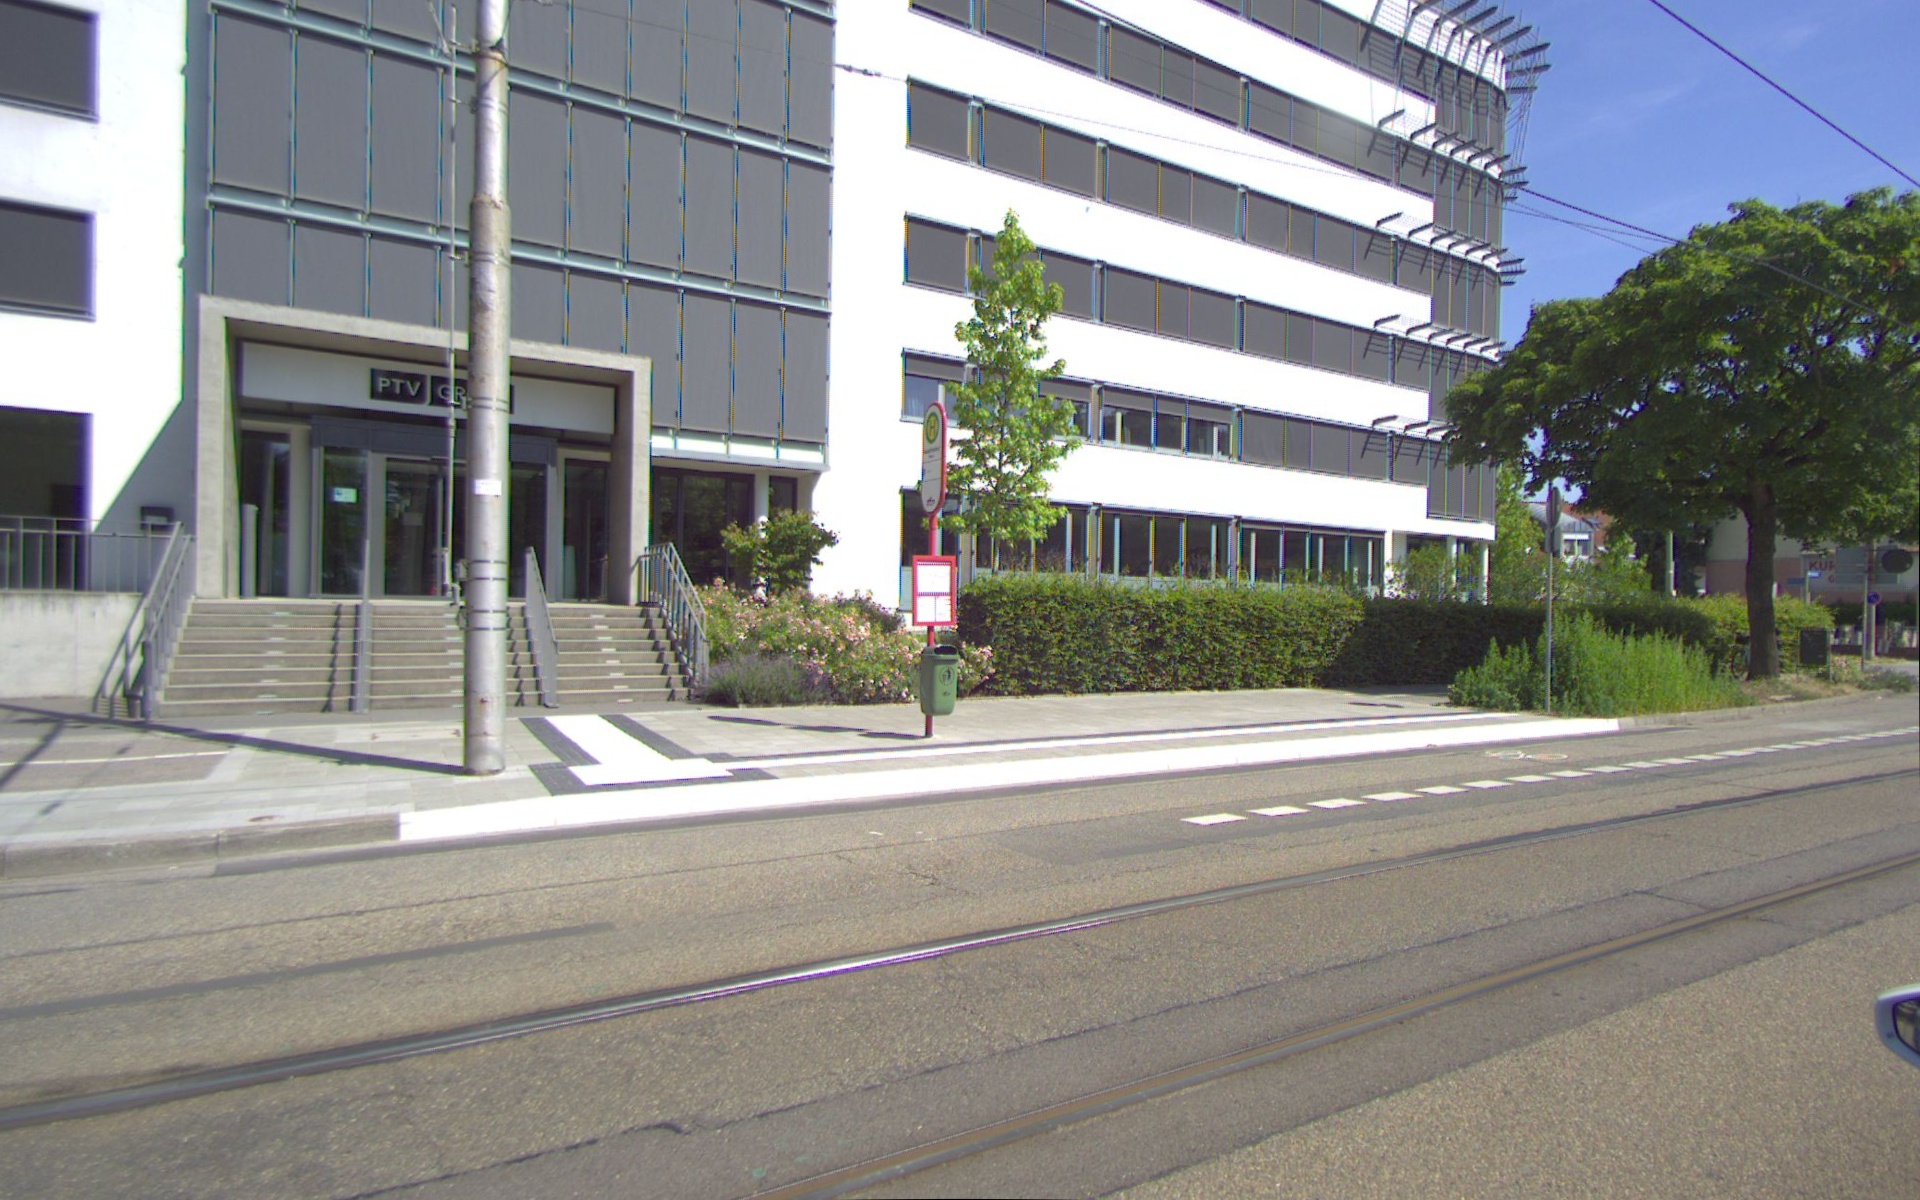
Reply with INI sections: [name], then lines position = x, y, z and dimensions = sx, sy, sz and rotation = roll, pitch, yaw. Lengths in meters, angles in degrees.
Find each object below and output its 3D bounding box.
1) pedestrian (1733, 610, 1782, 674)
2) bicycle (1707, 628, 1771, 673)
[pedestrian]
position = 20.474, 1.060, 25.787
dimensions = 0.978, 1.584, 0.681
rotation = 1, 1, -34
[bicycle]
position = 20.264, 1.300, 26.115
dimensions = 2.043, 1.132, 0.633
rotation = 1, -1, -31
